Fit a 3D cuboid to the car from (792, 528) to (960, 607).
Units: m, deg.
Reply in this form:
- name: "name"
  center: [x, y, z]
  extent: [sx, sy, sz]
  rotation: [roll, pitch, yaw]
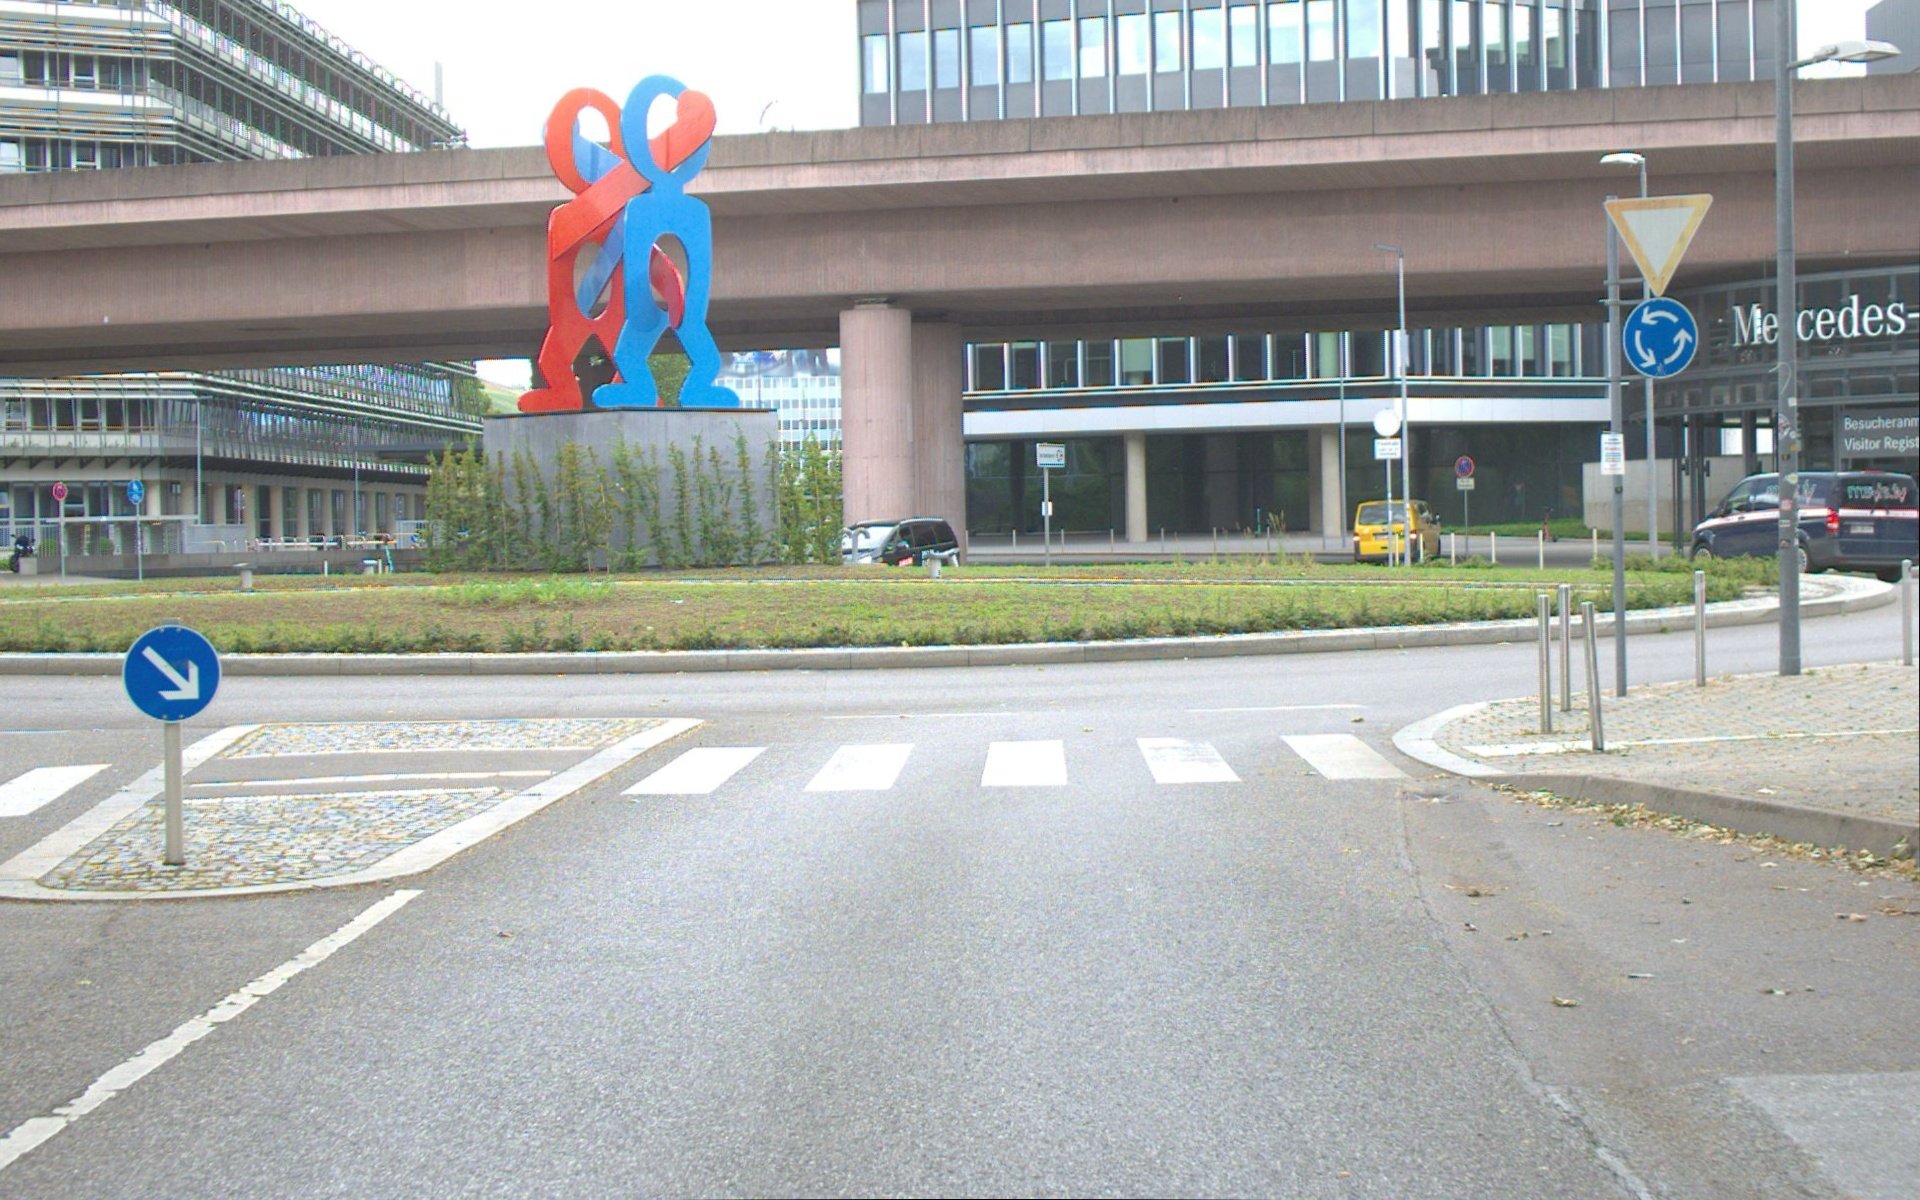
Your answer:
- name: "car"
  center: [-1.902, -0.757, 79.060]
  extent: [1.997, 1.766, 3.993]
  rotation: [0, 1, 32]

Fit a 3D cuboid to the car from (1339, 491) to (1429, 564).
- name: "car"
  center: [12.060, -2.048, 97.672]
  extent: [1.995, 2.007, 3.997]
  rotation: [0, 1, 15]

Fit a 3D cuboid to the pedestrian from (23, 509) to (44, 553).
- name: "pedestrian"
  center: [-43.459, -3.242, 161.222]
  extent: [0.776, 2.006, 0.671]
  rotation: [-1, 1, -2]

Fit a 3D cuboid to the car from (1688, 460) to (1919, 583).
- name: "car"
  center: [14.520, -1.329, 58.725]
  extent: [2.275, 2.007, 4.785]
  rotation: [0, 1, -13]
